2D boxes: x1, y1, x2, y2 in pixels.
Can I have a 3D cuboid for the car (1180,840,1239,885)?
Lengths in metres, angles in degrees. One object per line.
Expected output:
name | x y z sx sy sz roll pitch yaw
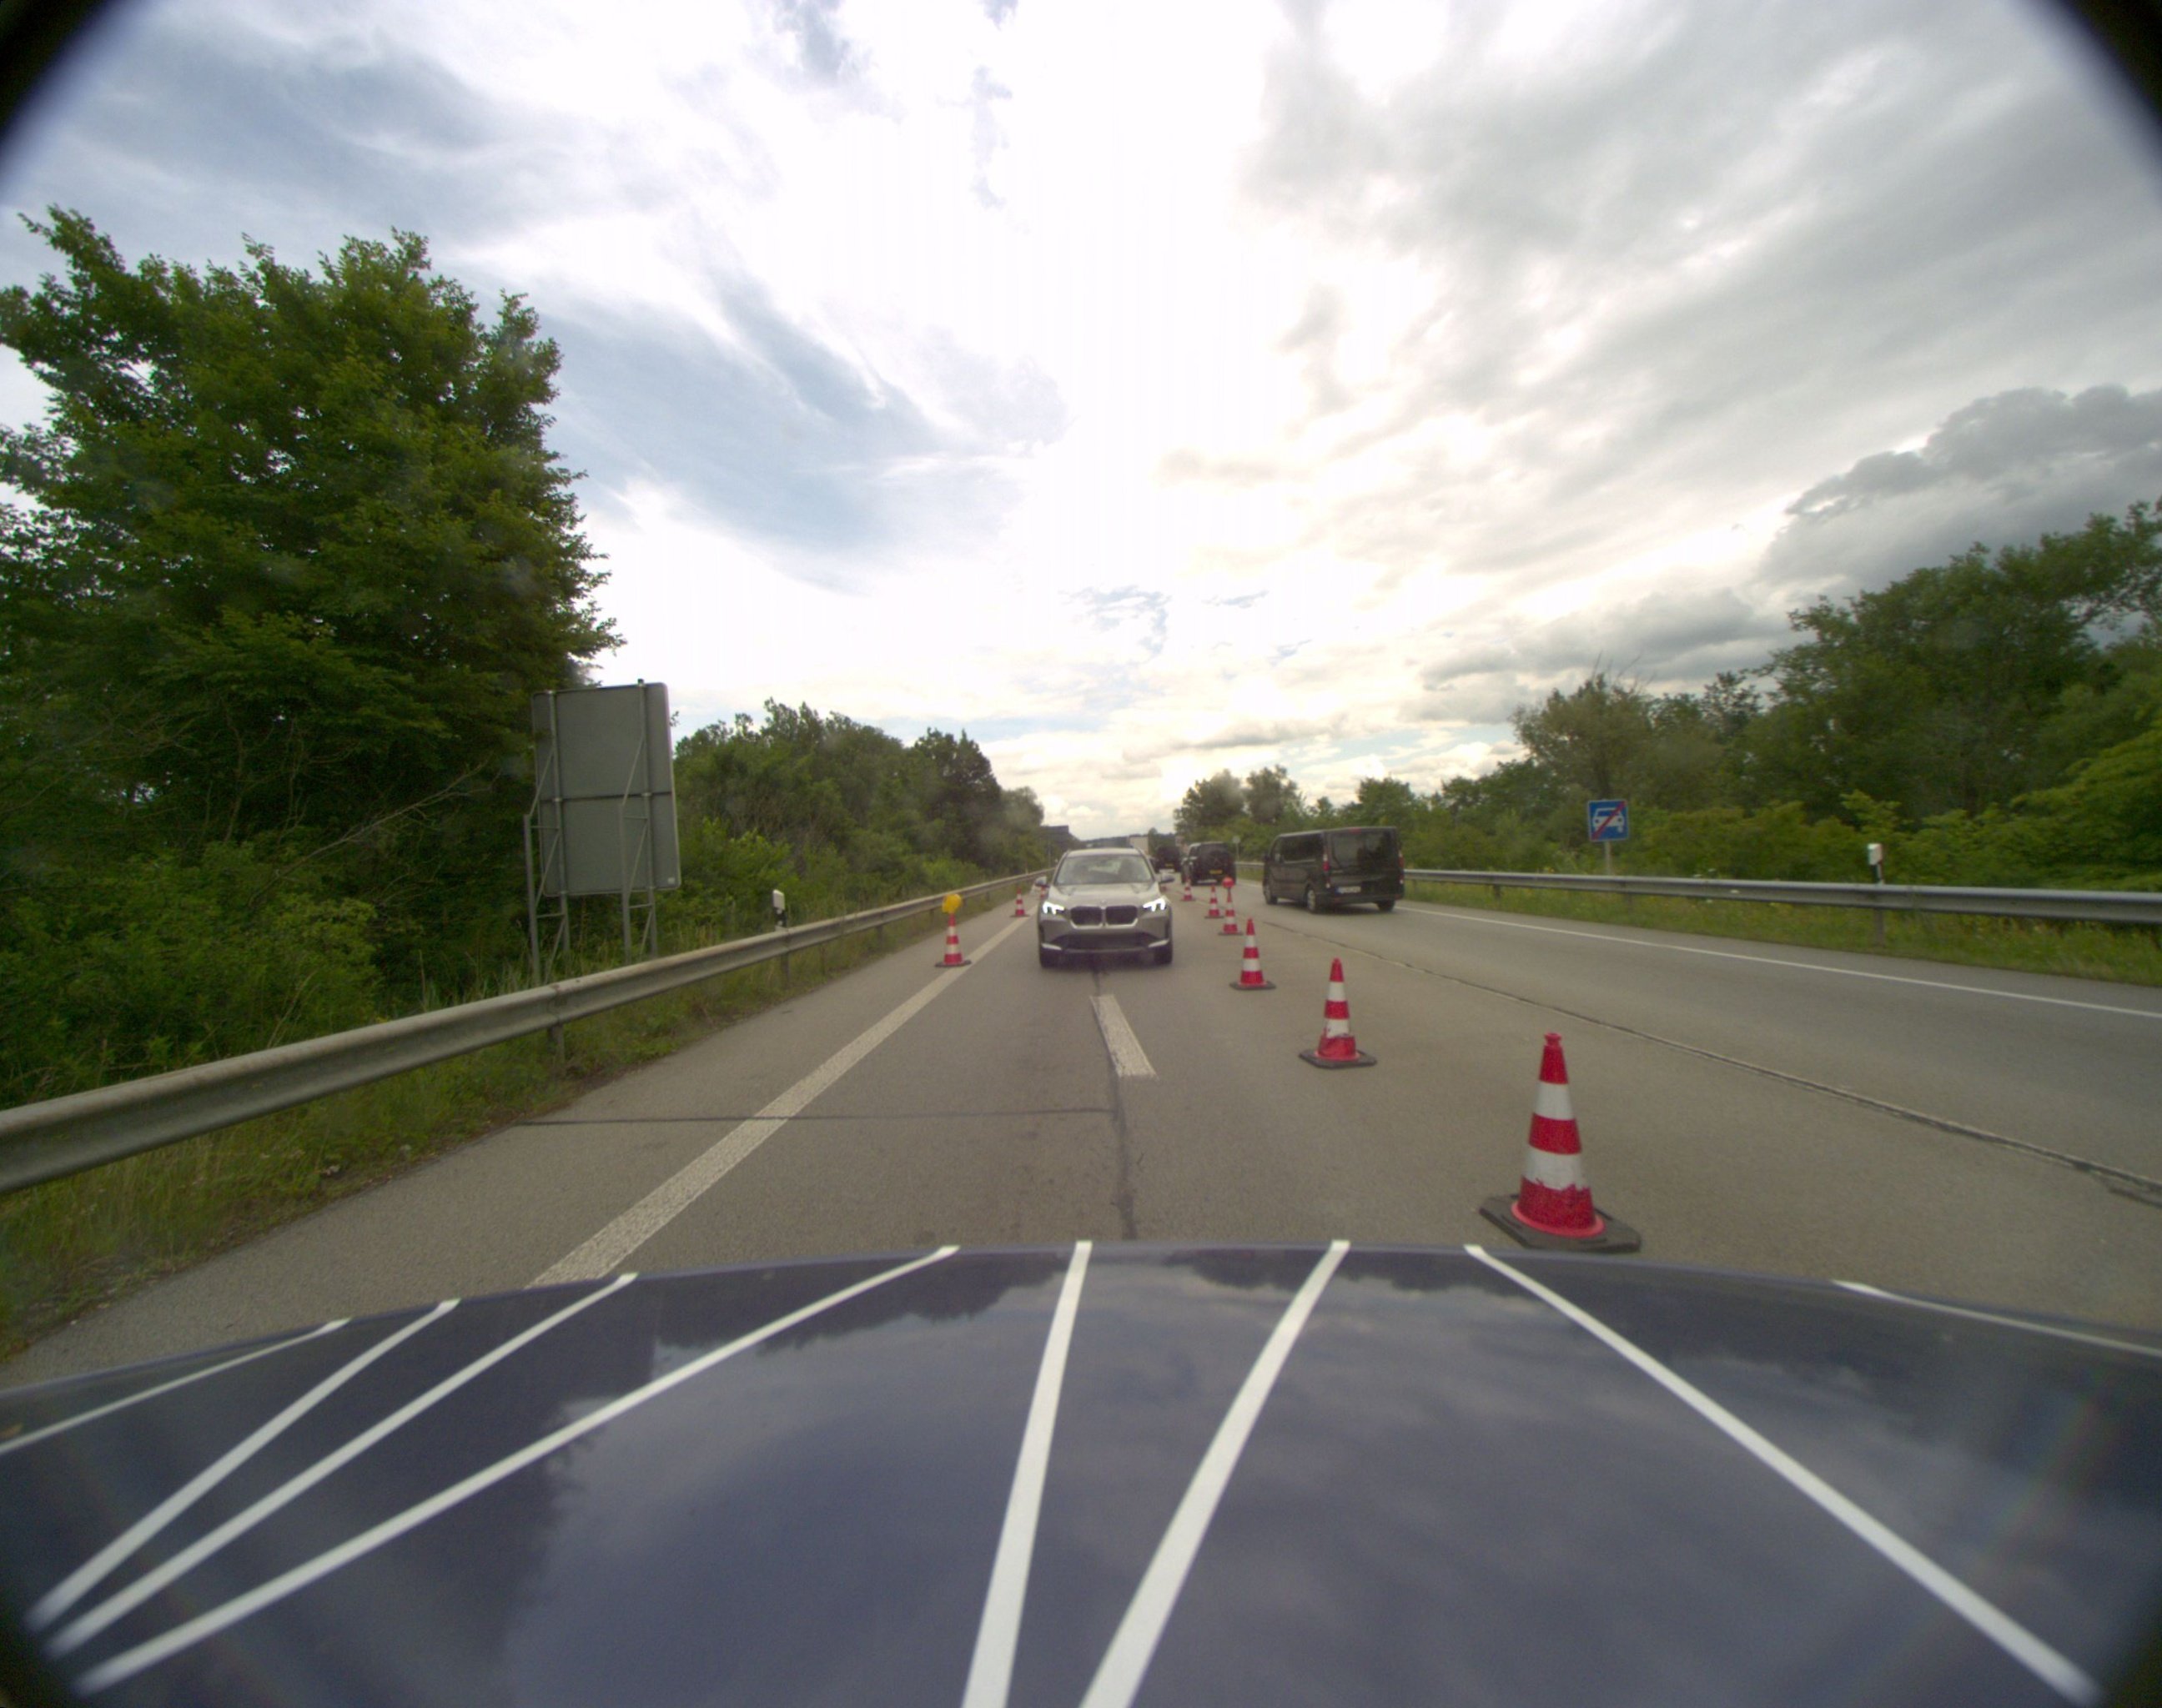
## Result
car | 5.815 0.367 34.888 1.971 1.873 4.532 -2 0 1

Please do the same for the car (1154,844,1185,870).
car | 6.723 0.230 58.070 1.929 1.820 4.532 -2 0 2

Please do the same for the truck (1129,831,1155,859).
truck | 8.592 -1.245 108.272 3.113 3.682 9.544 -2 0 1

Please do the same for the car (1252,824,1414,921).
car | 5.965 0.382 18.795 2.034 1.976 5.314 -2 0 -2

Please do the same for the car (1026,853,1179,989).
car | 0.342 0.825 11.540 1.817 1.598 4.433 -2 0 2

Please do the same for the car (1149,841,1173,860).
car | 7.228 -0.289 69.211 1.929 1.596 4.533 -2 0 3

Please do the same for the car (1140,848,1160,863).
car | 7.584 0.153 84.357 1.929 1.596 4.532 -2 0 2
